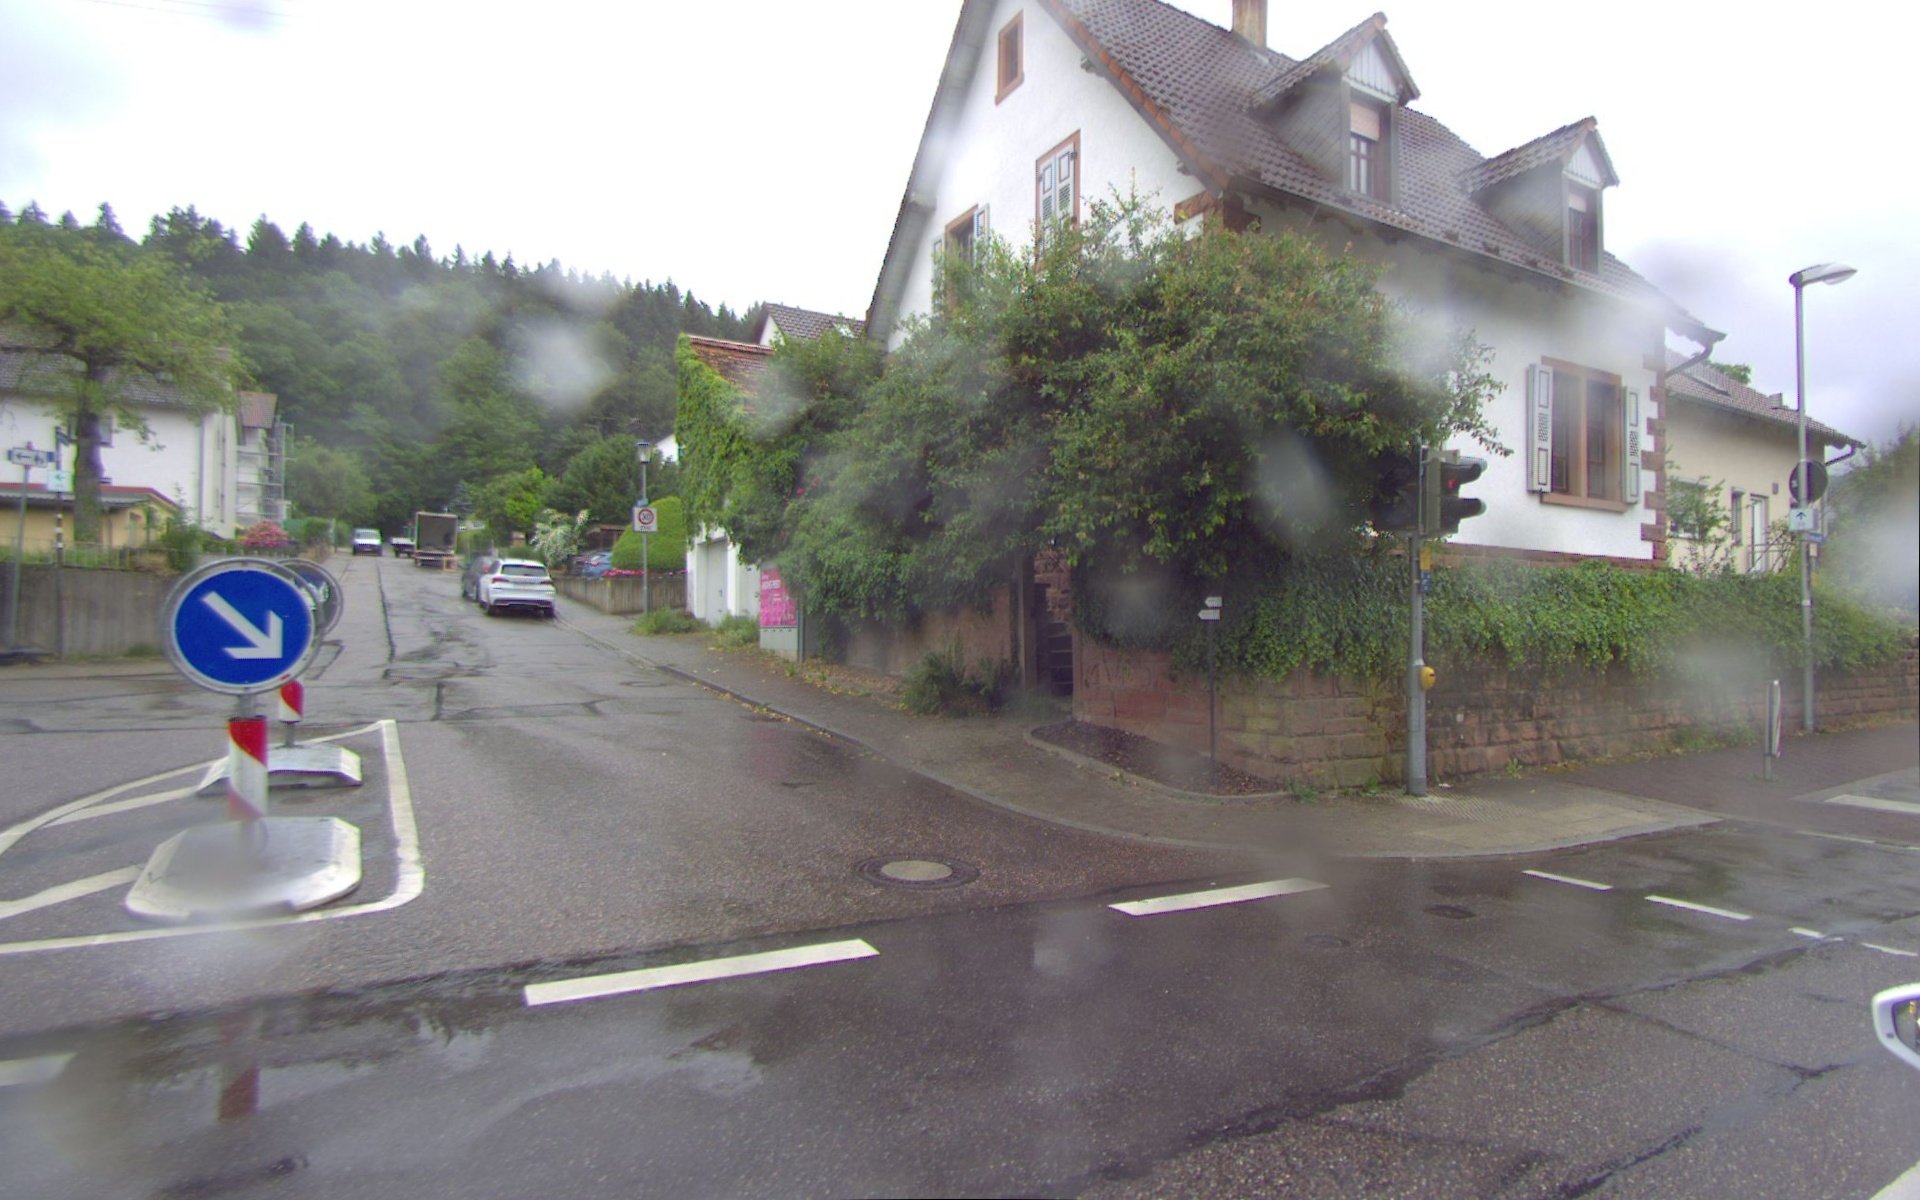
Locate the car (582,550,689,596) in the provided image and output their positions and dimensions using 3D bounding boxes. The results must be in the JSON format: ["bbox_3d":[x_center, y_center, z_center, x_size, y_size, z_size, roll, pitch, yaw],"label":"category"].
[{"bbox_3d":[-13.279,-1.097,41.129,3.846,1.534,1.885,2,5,-30],"label":"car"}]

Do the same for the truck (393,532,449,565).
[{"bbox_3d":[-40.370,-3.795,75.396,2.262,2.155,6.061,2,1,-15],"label":"truck"}]

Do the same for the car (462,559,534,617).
[{"bbox_3d":[-15.373,-0.432,33.331,1.877,1.534,3.860,2,5,-29],"label":"car"}]

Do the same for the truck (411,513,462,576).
[{"bbox_3d":[-31.045,-3.196,59.446,2.424,3.397,6.606,2,1,-29],"label":"truck"}]

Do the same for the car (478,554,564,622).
[{"bbox_3d":[-12.690,-0.386,28.914,1.877,1.534,3.860,2,5,-29],"label":"car"}]

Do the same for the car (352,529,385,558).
[{"bbox_3d":[-44.469,-4.220,75.488,1.896,2.040,3.963,2,1,-33],"label":"car"}]
